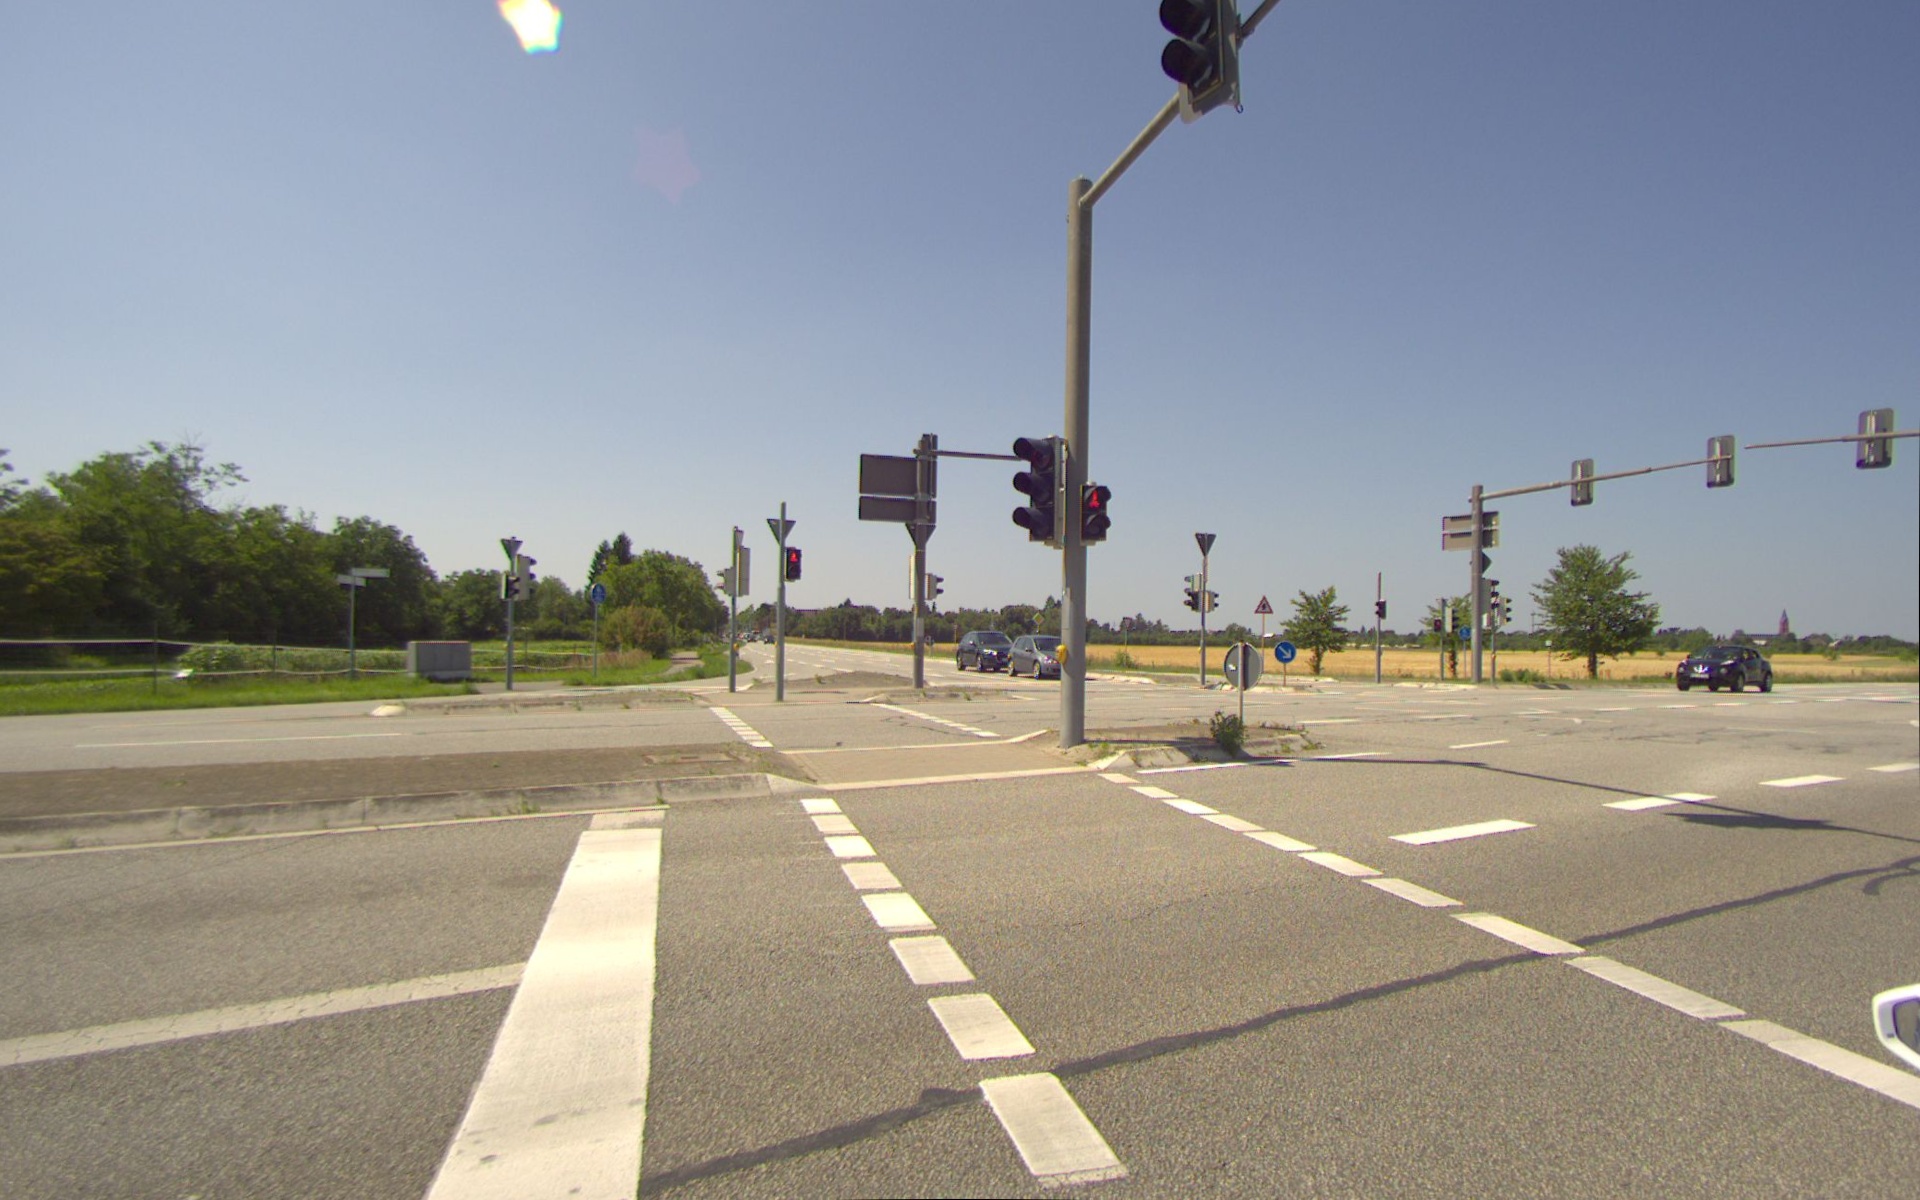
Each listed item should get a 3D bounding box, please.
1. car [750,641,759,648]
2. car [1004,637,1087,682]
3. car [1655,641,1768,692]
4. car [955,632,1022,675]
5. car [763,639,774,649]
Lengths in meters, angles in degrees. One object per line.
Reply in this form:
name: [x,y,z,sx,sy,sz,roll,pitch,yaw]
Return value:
car: [-38.559,8.320,188.099,1.474,1.405,3.765,1,-3,-14]
car: [2.904,2.041,34.958,1.608,1.405,3.868,1,-1,-16]
car: [25.512,2.245,34.069,4.262,1.621,1.819,3,-3,-35]
car: [1.103,2.177,41.033,1.607,1.615,4.358,1,-3,-14]
car: [-30.134,6.936,158.069,1.474,1.405,3.765,1,-3,-14]
